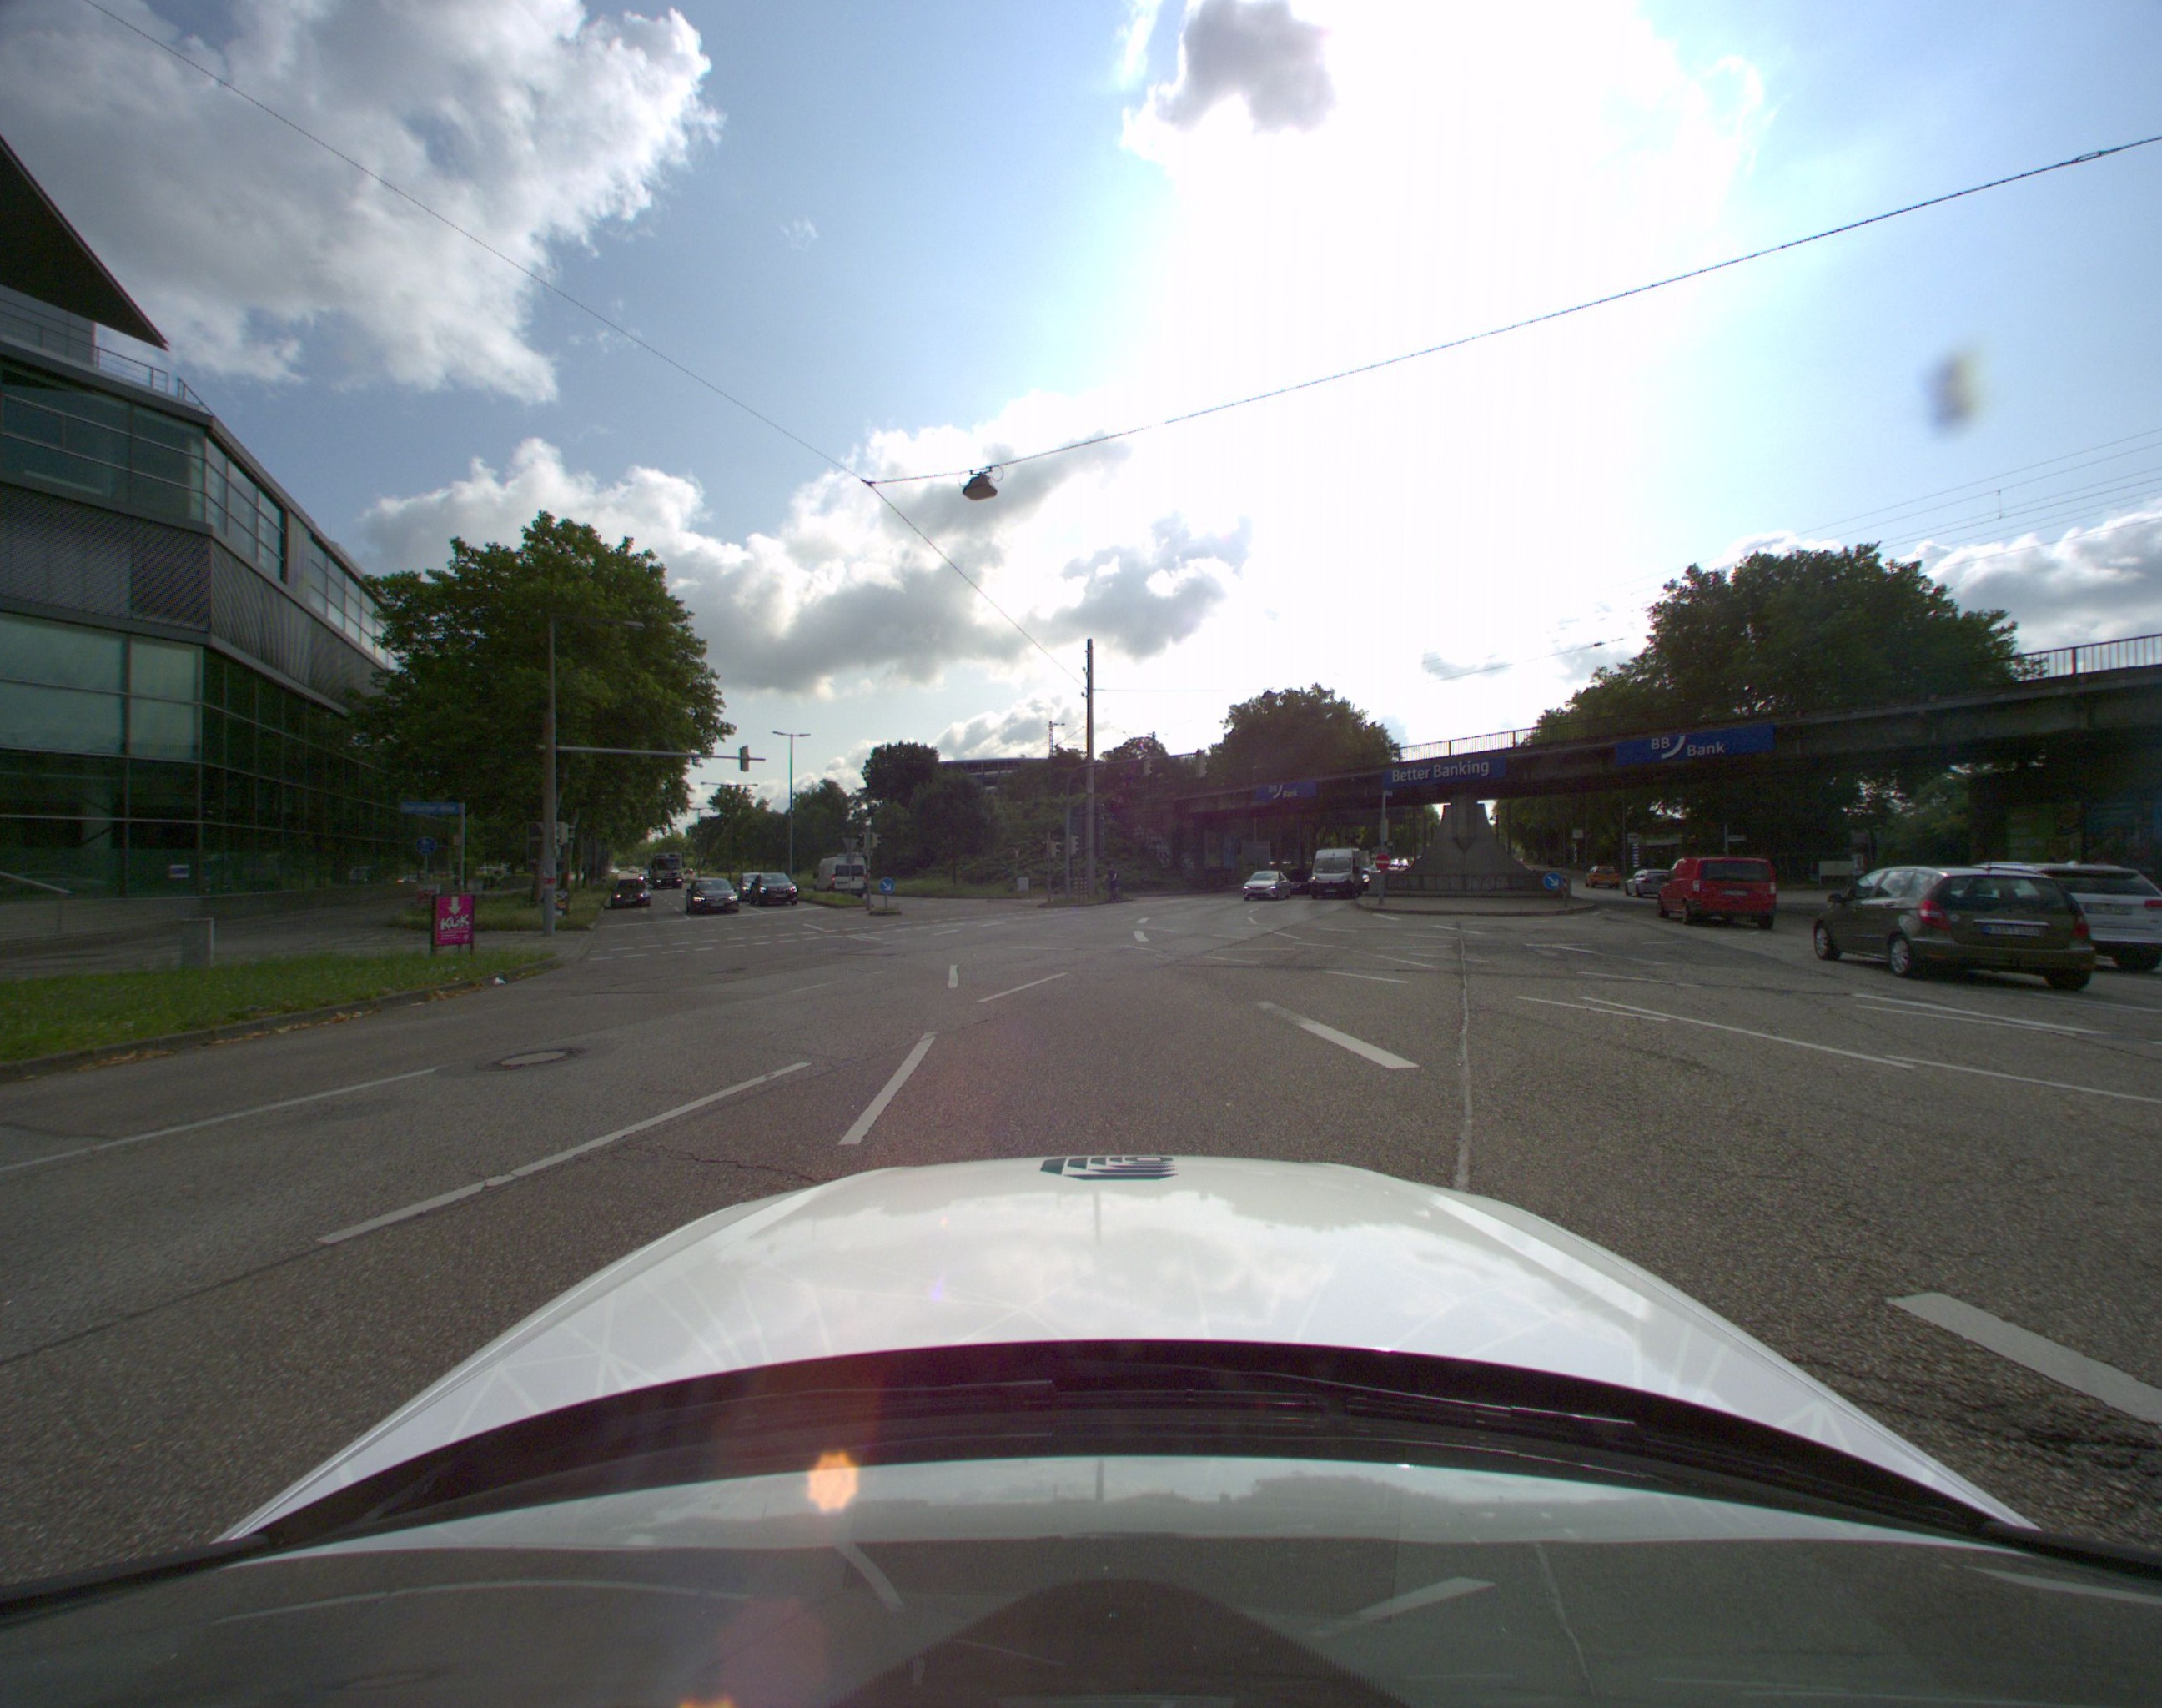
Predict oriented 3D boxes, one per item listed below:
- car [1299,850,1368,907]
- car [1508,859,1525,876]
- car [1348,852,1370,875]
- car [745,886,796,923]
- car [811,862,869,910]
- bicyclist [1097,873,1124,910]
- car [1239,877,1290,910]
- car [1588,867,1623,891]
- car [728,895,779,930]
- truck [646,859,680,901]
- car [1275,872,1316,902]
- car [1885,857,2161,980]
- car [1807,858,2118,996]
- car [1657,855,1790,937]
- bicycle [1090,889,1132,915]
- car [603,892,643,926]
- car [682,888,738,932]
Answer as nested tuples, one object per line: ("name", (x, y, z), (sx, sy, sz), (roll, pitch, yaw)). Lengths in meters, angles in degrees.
("car", (12.865, 1.165, 41.229), (2.237, 2.526, 5.659), (-6, -3, 26))
("car", (56.268, 1.774, 105.185), (1.782, 2.124, 3.788), (-3, -2, 27))
("car", (35.160, 1.172, 102.887), (2.226, 2.578, 5.654), (-6, -3, 21))
("car", (-15.209, 2.403, 39.725), (1.718, 1.587, 4.321), (-2, -1, -28))
("car", (-14.663, 1.916, 49.346), (2.211, 2.726, 4.883), (-2, -1, -30))
("bicyclist", (1.405, 1.798, 38.799), (0.834, 1.678, 0.829), (-5, -2, 32))
("car", (9.123, 1.931, 40.347), (1.687, 1.477, 4.022), (-1, -1, 24))
("car", (36.135, 1.712, 56.161), (1.759, 1.558, 4.024), (-3, -2, 29))
("car", (-18.111, 3.200, 44.990), (2.006, 1.728, 3.960), (-2, -2, -30))
("truck", (-41.661, 2.540, 80.988), (2.666, 3.888, 10.063), (1, -1, -29))
("car", (12.660, 1.883, 47.816), (1.750, 1.583, 4.688), (-3, -2, 21))
("car", (17.131, 1.048, 14.916), (1.977, 1.901, 4.534), (-1, -2, 25))
("car", (12.500, 0.922, 11.914), (1.776, 1.608, 3.820), (2, -1, 25))
("car", (17.992, 1.100, 23.065), (1.938, 2.017, 4.703), (1, -1, 25))
("bicycle", (1.447, 2.271, 38.808), (0.834, 1.093, 2.333), (-5, -2, 32))
("car", (-23.529, 2.771, 41.878), (1.739, 1.572, 3.962), (0, -1, -29))
("car", (-15.896, 2.339, 34.799), (1.876, 1.574, 4.526), (-2, 0, -28))
